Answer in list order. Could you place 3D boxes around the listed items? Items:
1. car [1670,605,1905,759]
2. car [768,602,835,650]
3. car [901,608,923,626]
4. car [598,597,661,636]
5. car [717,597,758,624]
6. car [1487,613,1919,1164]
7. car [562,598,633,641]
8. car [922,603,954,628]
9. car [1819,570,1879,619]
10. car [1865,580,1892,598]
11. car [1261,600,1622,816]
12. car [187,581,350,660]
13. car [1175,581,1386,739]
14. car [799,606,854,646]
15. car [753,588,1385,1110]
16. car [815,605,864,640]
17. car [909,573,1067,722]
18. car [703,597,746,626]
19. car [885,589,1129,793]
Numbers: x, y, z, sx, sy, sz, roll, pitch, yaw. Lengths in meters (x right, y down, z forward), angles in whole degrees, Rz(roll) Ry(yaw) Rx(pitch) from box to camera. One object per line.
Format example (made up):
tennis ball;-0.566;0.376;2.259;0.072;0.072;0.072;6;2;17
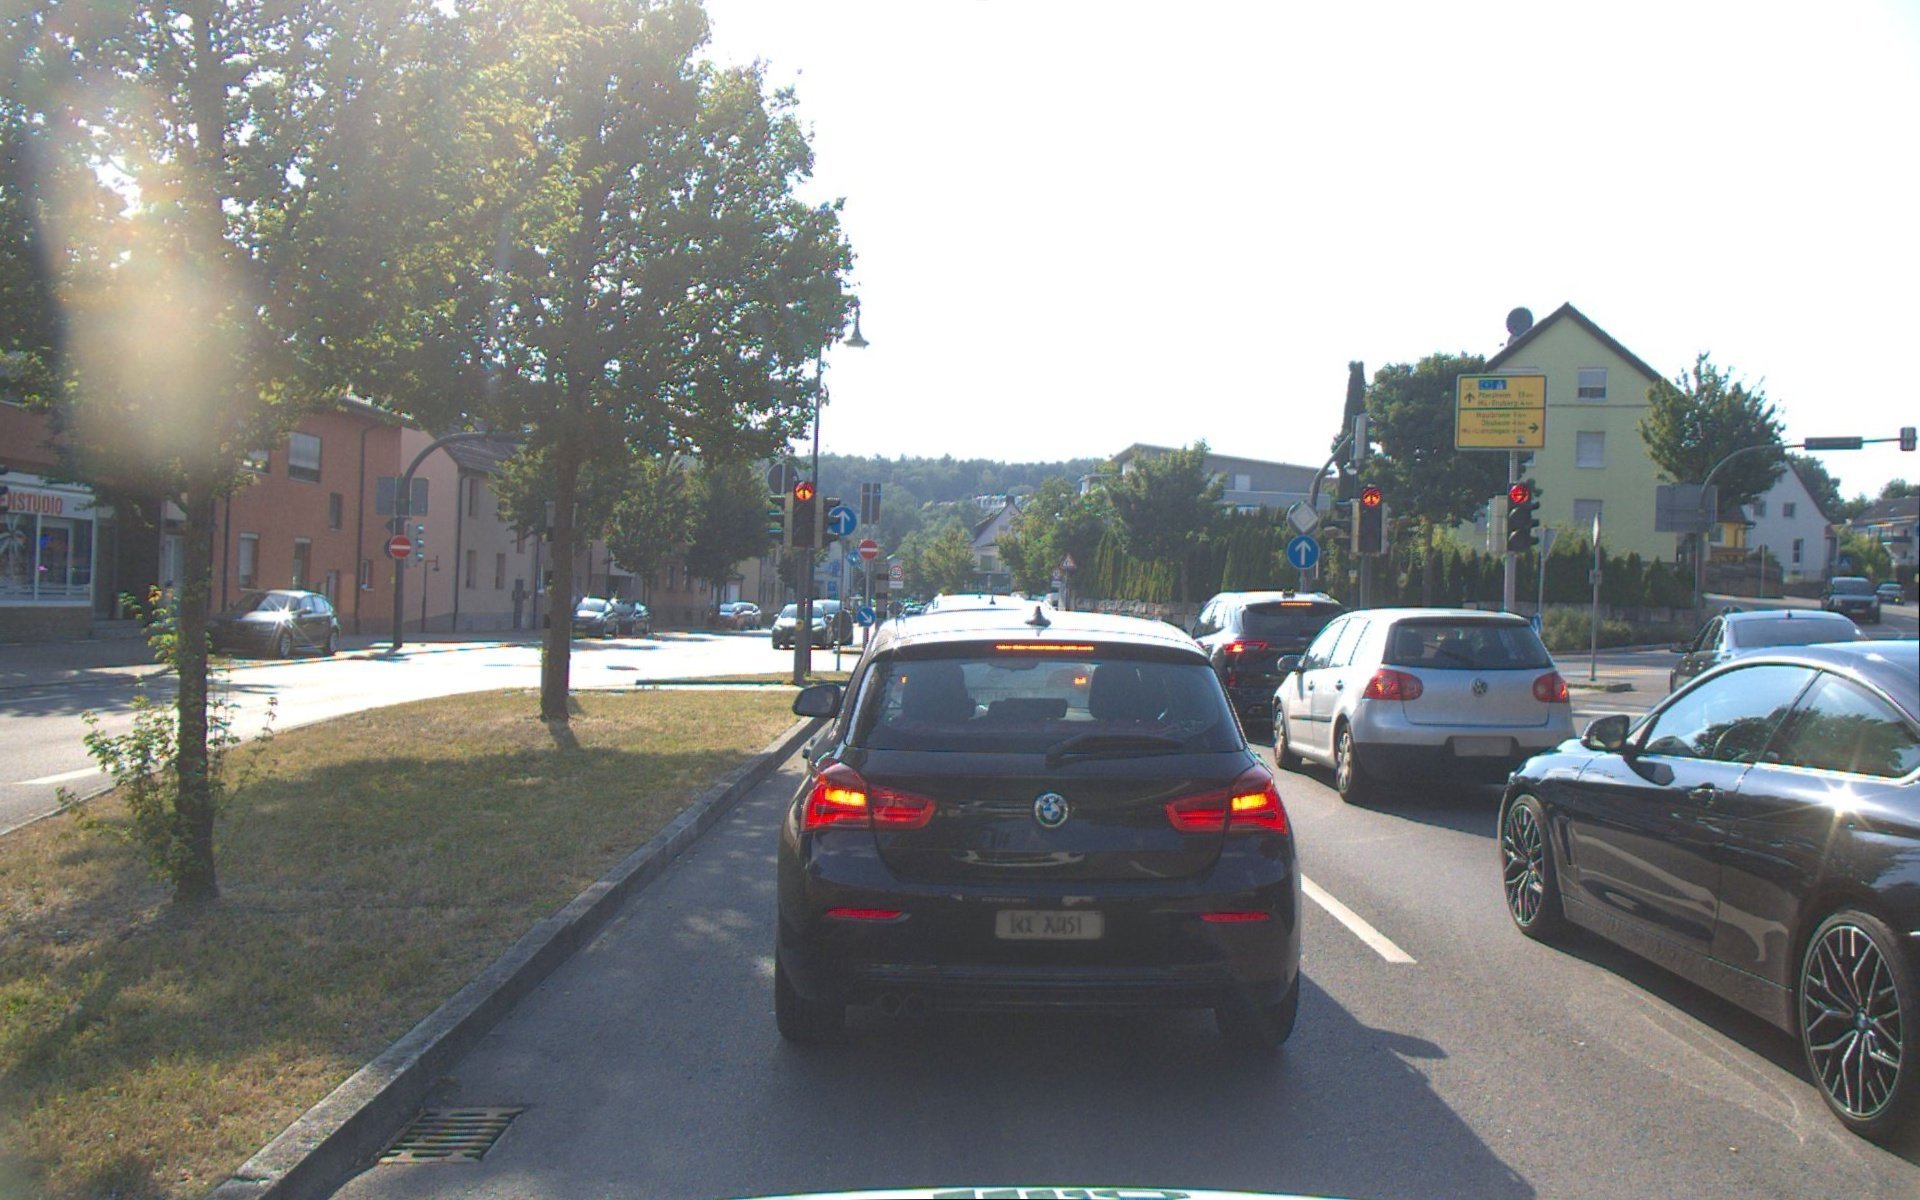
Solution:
car;9.023;0.798;18.379;1.646;1.460;4.591;1;0;18
car;-5.183;0.825;54.454;1.730;1.484;4.000;1;0;1
car;-4.409;1.560;152.780;1.885;1.624;3.999;1;0;-1
car;-14.383;0.701;72.196;1.884;1.624;4.000;1;0;1
car;-13.762;0.630;102.577;1.884;1.624;4.000;1;0;1
car;3.441;0.785;5.898;1.779;1.413;4.347;1;0;1
car;-14.530;0.759;66.510;1.884;1.624;4.000;1;0;1
car;-1.583;1.067;116.467;1.854;1.732;4.518;0;0;-6
car;32.668;-0.233;60.846;1.751;1.533;4.067;-2;2;26
car;67.868;-0.794;122.250;1.678;1.266;3.995;1;1;28
car;3.762;0.758;13.743;1.779;1.471;4.347;1;0;1
car;-15.483;0.433;37.284;1.805;1.579;4.001;3;0;2
car;3.782;0.650;20.228;1.779;1.695;4.347;1;0;1
car;-4.987;0.949;62.059;1.658;1.377;4.000;1;0;1
car;0.335;0.693;6.816;1.754;1.439;4.347;1;0;1
car;-4.995;0.932;69.126;1.658;1.377;4.000;1;0;1
car;0.349;0.535;20.932;1.779;1.670;4.242;1;0;1
car;-13.809;0.643;97.071;1.884;1.624;4.000;1;0;1
car;0.375;0.666;14.306;1.779;1.476;4.242;1;0;1
